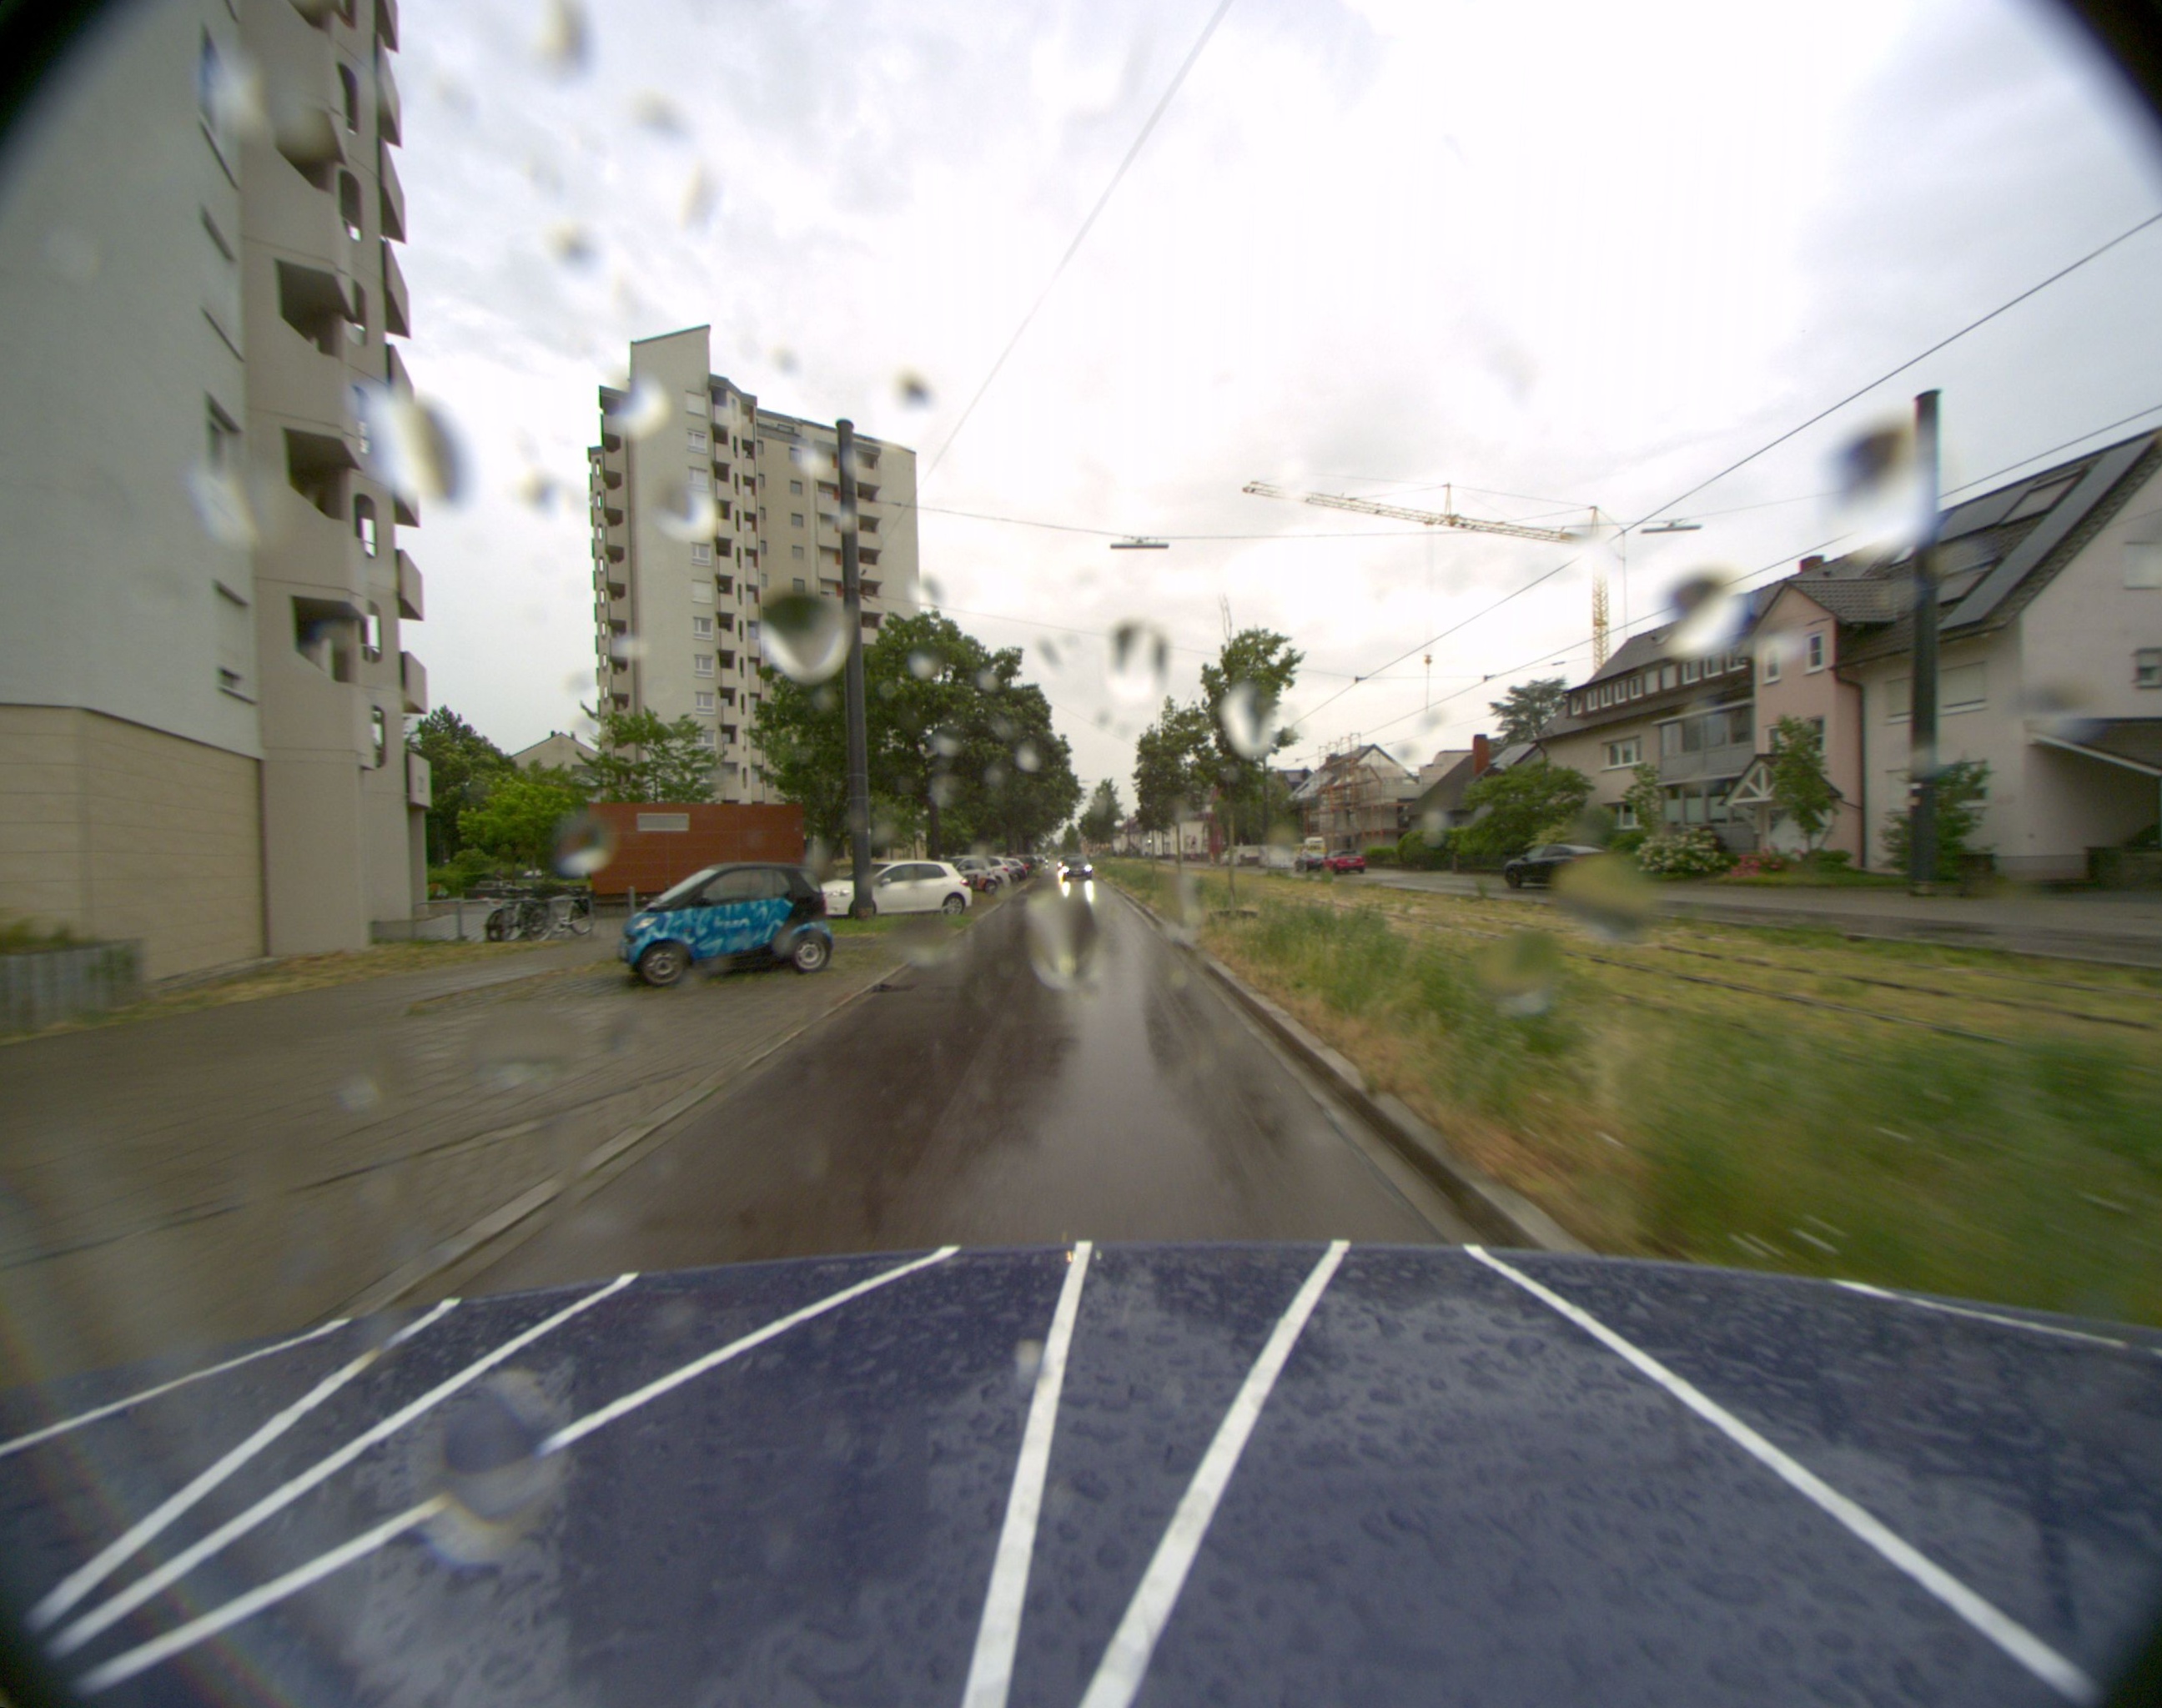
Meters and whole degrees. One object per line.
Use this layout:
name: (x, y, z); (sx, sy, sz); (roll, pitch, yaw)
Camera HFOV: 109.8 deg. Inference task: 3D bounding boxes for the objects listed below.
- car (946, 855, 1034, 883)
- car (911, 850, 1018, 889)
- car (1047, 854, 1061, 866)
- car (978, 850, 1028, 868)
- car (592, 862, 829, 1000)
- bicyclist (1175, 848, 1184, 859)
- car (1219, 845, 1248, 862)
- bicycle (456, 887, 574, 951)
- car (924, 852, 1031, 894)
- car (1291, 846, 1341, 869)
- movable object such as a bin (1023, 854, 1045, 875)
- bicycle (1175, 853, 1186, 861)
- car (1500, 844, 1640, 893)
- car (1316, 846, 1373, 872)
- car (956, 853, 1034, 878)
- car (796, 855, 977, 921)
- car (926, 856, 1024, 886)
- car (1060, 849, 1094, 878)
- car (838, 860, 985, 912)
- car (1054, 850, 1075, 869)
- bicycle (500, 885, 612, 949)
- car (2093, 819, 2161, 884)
car: (-4.893, 0.814, 41.120); (4.469, 1.419, 1.680); (1, -1, -34)
car: (-5.211, 0.696, 34.376); (4.470, 1.661, 1.808); (1, -1, -40)
car: (-4.307, 0.898, 120.908); (1.998, 1.696, 3.999); (-3, 1, 1)
car: (-6.864, 0.464, 67.128); (4.055, 1.479, 1.720); (1, -1, -36)
car: (-5.036, 0.930, 10.412); (2.570, 1.539, 1.598); (-2, 1, -40)
bicyclist: (13.572, -0.075, 104.867); (0.956, 1.575, 1.399); (-3, 2, -1)
car: (16.243, -0.041, 81.255); (1.999, 1.618, 4.249); (-3, 1, -3)
bicycle: (-10.868, 1.218, 14.697); (0.663, 1.000, 2.058); (-3, 1, 0)
car: (-4.323, 0.794, 32.141); (4.194, 1.661, 1.680); (1, -1, -37)
car: (15.842, 0.252, 51.418); (1.999, 1.401, 4.174); (-3, -1, -1)
movable object such as a bin: (-3.506, 0.768, 56.831); (1.165, 1.553, 1.372); (-3, 2, -24)
bicycle: (13.620, 0.388, 104.468); (0.937, 1.037, 3.433); (-1, 0, -2)
car: (16.067, 0.444, 25.270); (1.841, 1.418, 4.174); (-3, 0, -1)
car: (15.942, 0.273, 46.170); (1.999, 1.365, 3.842); (-3, 1, -1)
car: (-5.277, 0.741, 47.029); (4.470, 1.456, 1.815); (1, -1, -35)
car: (-4.983, 0.841, 19.778); (4.195, 1.538, 1.760); (2, -1, -40)
car: (-5.206, 0.853, 37.661); (4.470, 1.401, 1.763); (1, -1, -35)
car: (-0.287, 0.569, 47.961); (1.999, 1.611, 3.999); (-3, 1, -1)
car: (-5.020, 0.936, 22.721); (3.953, 1.423, 1.680); (1, -1, -37)
car: (-1.651, 0.523, 77.374); (1.998, 1.762, 3.999); (-3, 1, 1)
bicycle: (-10.078, 1.183, 14.702); (0.663, 1.000, 2.058); (-3, 1, 0)
car: (27.764, -0.127, 18.440); (3.997, 1.492, 1.841); (-3, 1, 0)
